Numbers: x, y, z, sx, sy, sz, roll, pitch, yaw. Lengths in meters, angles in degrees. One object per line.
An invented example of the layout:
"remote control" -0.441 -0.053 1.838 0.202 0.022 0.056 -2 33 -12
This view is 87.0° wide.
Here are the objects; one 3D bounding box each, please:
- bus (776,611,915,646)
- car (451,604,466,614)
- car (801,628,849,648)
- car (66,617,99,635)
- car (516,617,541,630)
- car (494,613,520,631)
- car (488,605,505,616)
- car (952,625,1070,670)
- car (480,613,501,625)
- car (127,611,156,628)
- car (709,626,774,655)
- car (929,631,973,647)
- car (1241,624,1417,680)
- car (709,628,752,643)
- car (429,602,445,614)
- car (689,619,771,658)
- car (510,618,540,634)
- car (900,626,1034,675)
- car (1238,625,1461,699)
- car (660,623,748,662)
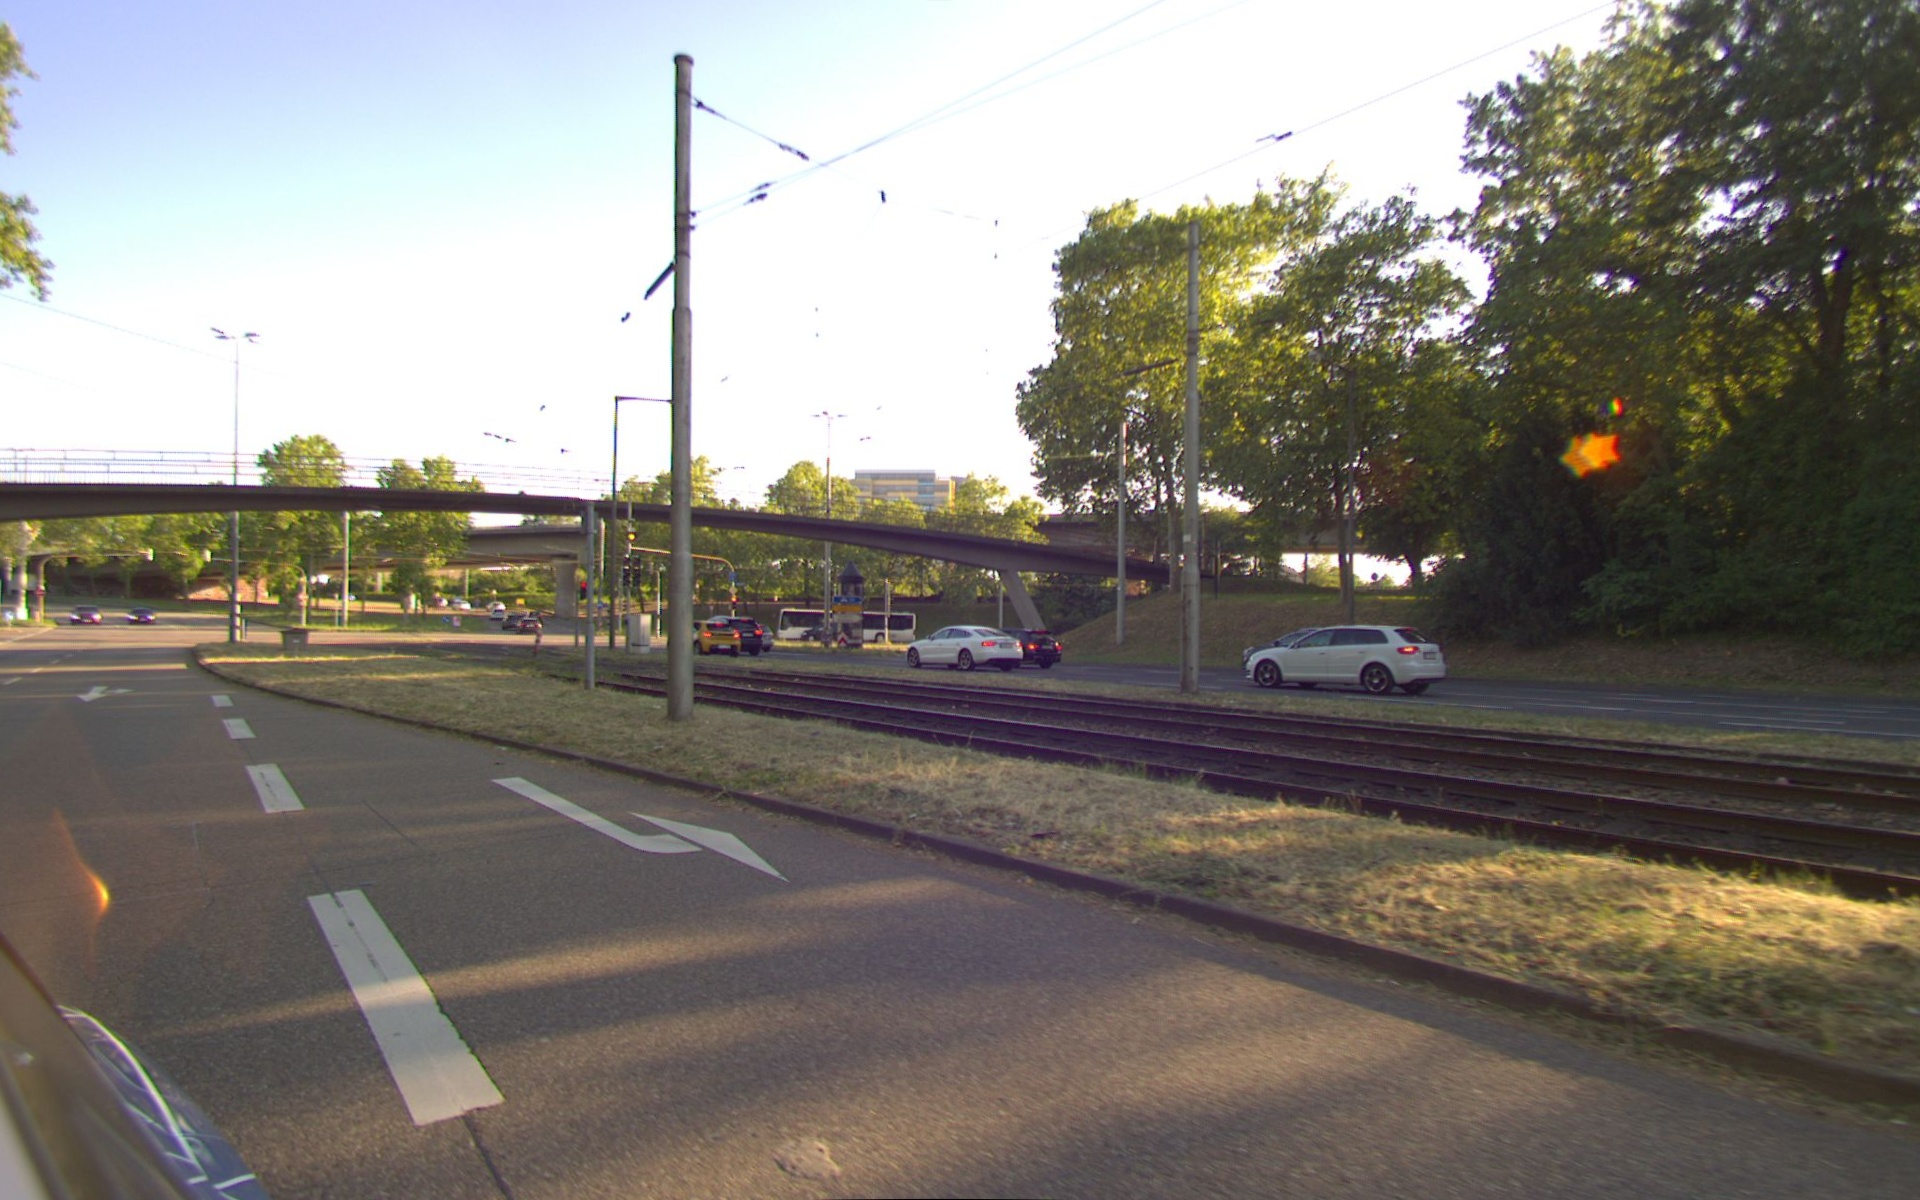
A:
"bus" -10.731 2.664 95.032 12.636 2.977 2.839 1 -1 -15
"car" -81.862 1.478 165.246 1.825 1.621 4.320 2 -1 -32
"car" -12.085 3.374 90.507 4.025 1.665 1.721 1 -1 -16
"car" -74.252 2.217 85.689 1.968 1.497 4.006 1 -2 -40
"car" -50.746 2.782 118.905 1.978 1.454 4.265 1 -1 -33
"car" -44.363 2.152 99.105 1.766 1.663 4.369 1 -1 -32
"car" -73.773 1.672 161.034 1.826 1.621 4.382 2 -1 -34
"car" 1.780 1.676 36.711 1.814 1.493 4.446 0 -1 -37
"car" -58.943 2.331 127.078 1.977 1.454 4.875 1 -1 -30
"car" -73.145 1.722 90.468 1.968 1.497 4.007 1 -2 -39
"car" -11.842 2.163 54.649 1.664 1.426 4.447 0 -1 -37
"car" -0.859 3.753 97.677 3.932 1.453 1.710 1 -1 -16
"car" 10.801 1.468 29.909 1.815 1.493 4.608 0 -1 -38
"car" -20.911 3.233 92.214 3.670 1.364 1.614 1 -1 -18
"car" -88.146 1.312 170.566 1.825 1.881 4.157 2 -1 -33
"car" -10.574 1.708 46.301 1.815 1.667 4.443 0 -1 -40
"car" -37.545 2.246 87.281 1.663 1.320 4.321 1 -1 -32
"car" 0.131 1.556 32.142 1.814 1.426 4.609 1 -2 -38
"car" 8.342 1.270 21.984 1.632 1.426 4.266 1 -2 -39
"car" -10.197 1.654 40.140 1.815 1.426 4.025 1 -1 -40
